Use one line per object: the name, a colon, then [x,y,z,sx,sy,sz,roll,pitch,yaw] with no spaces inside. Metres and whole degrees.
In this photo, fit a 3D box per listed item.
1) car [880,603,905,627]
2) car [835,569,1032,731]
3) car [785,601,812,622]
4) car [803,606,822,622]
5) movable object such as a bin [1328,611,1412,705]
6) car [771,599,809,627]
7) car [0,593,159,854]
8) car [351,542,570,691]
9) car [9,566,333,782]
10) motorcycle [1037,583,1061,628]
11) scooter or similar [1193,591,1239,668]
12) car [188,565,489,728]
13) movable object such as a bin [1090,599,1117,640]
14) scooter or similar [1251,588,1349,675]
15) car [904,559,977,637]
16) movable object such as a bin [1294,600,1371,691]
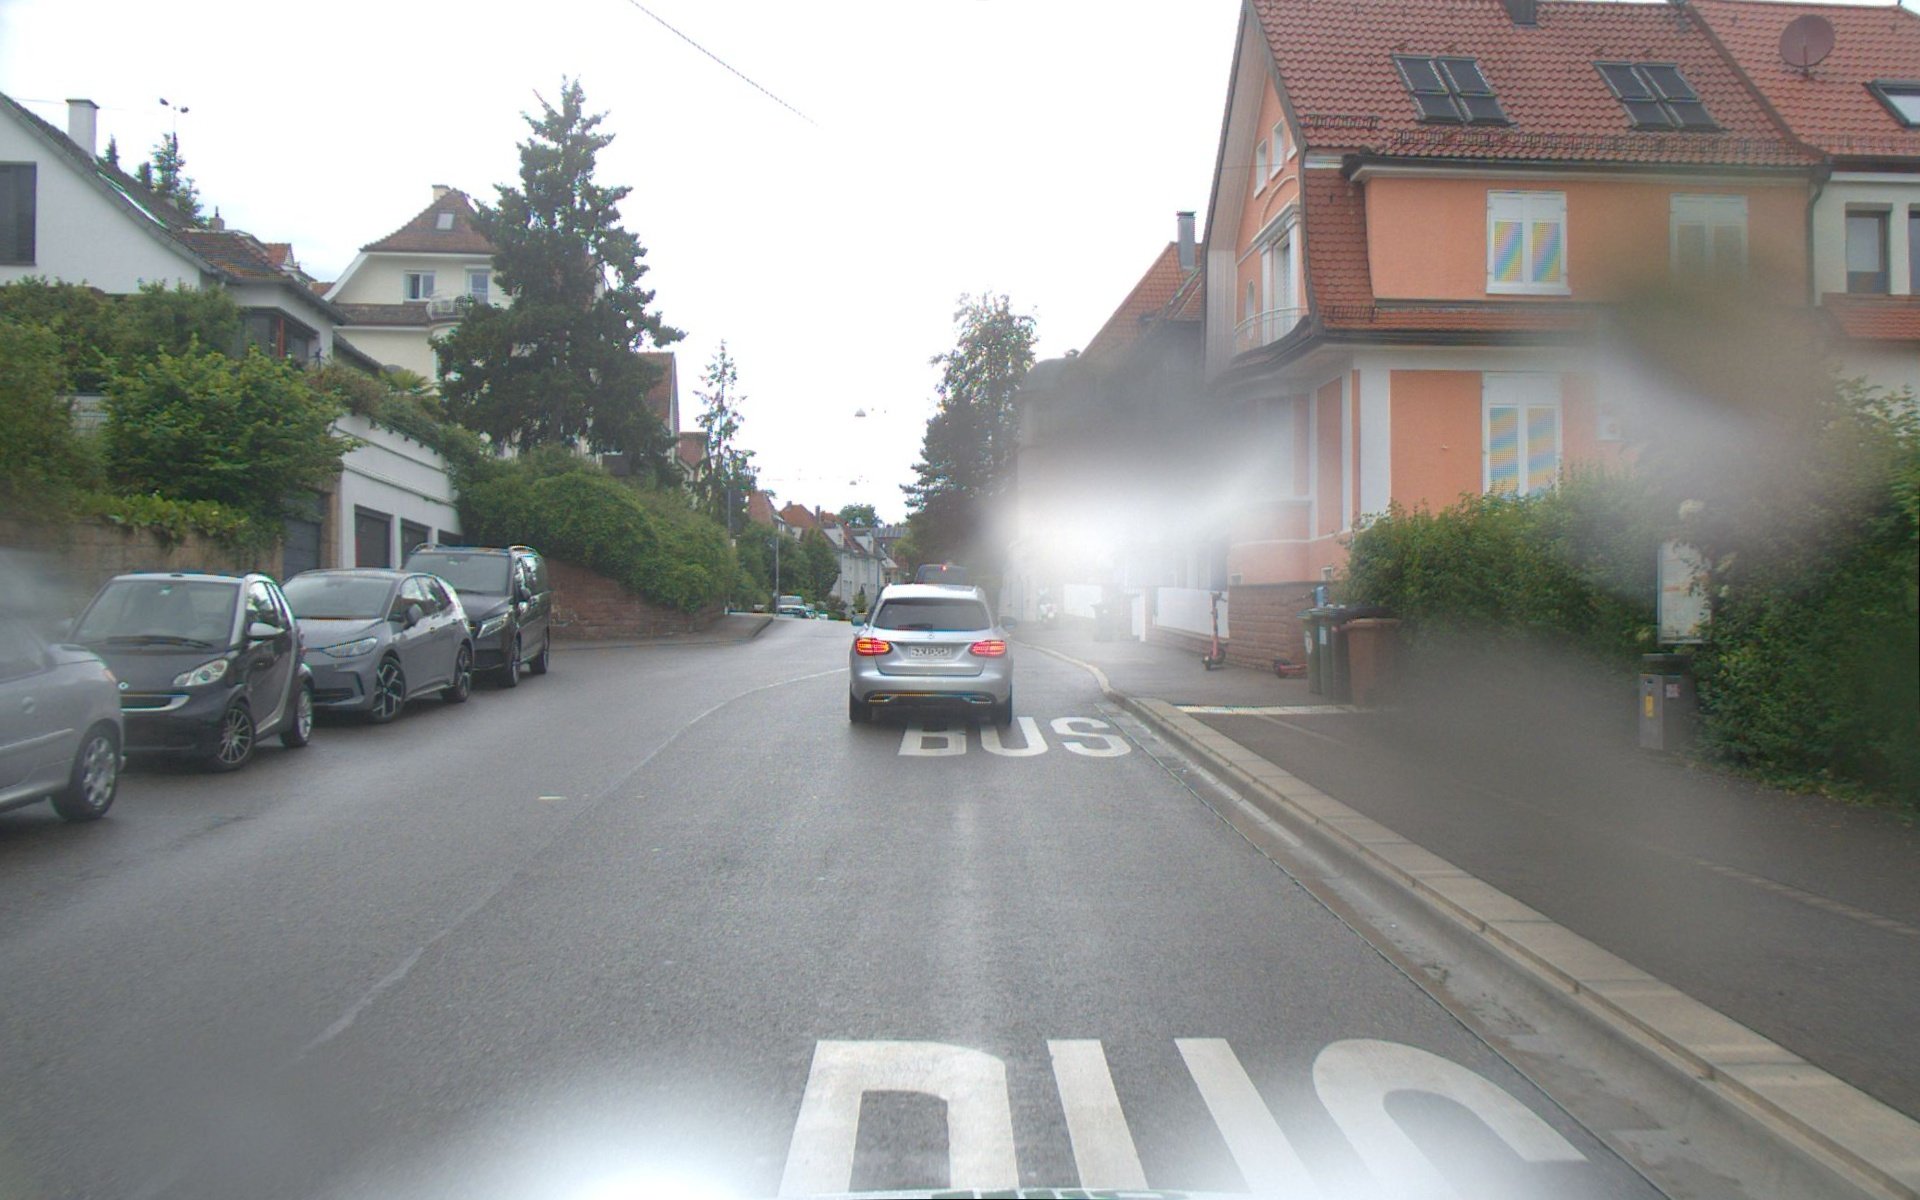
car: [-7.382,1.586,181.853,2.416,2.441,4.000,-3,1,0]
car: [-0.337,0.480,18.743,1.943,1.581,4.296,1,1,-2]
car: [-10.909,0.761,111.951,1.723,1.337,3.680,0,1,-4]
car: [-12.828,1.226,143.841,1.604,1.337,3.473,0,1,-4]
movable object such as a bin: [4.488,0.627,18.109,0.565,0.986,0.661,2,0,-36]
car: [-9.989,0.749,97.484,2.075,1.497,4.013,1,1,-4]
car: [-5.953,0.670,8.884,1.577,1.361,3.838,1,1,-3]
car: [-7.118,0.186,24.198,2.088,1.892,5.585,1,0,-7]
car: [-6.310,0.517,13.570,1.468,1.550,3.154,1,1,-7]
motorcycle: [2.652,0.143,49.373,0.570,1.283,2.331,-1,1,0]
scooter or similar: [4.326,0.487,28.014,0.678,1.245,1.300,1,1,5]
car: [-6.683,0.431,18.324,1.860,1.541,4.339,2,1,-3]
movable object such as a bin: [3.439,0.461,39.655,0.538,0.952,0.633,-2,1,-3]
scooter or similar: [5.003,0.461,24.310,1.234,1.245,0.694,-2,-1,29]
car: [-0.517,-0.081,43.147,1.787,1.915,4.095,-1,1,-1]
movable object such as a bin: [4.511,0.542,20.063,0.697,1.048,0.757,-1,1,-5]
